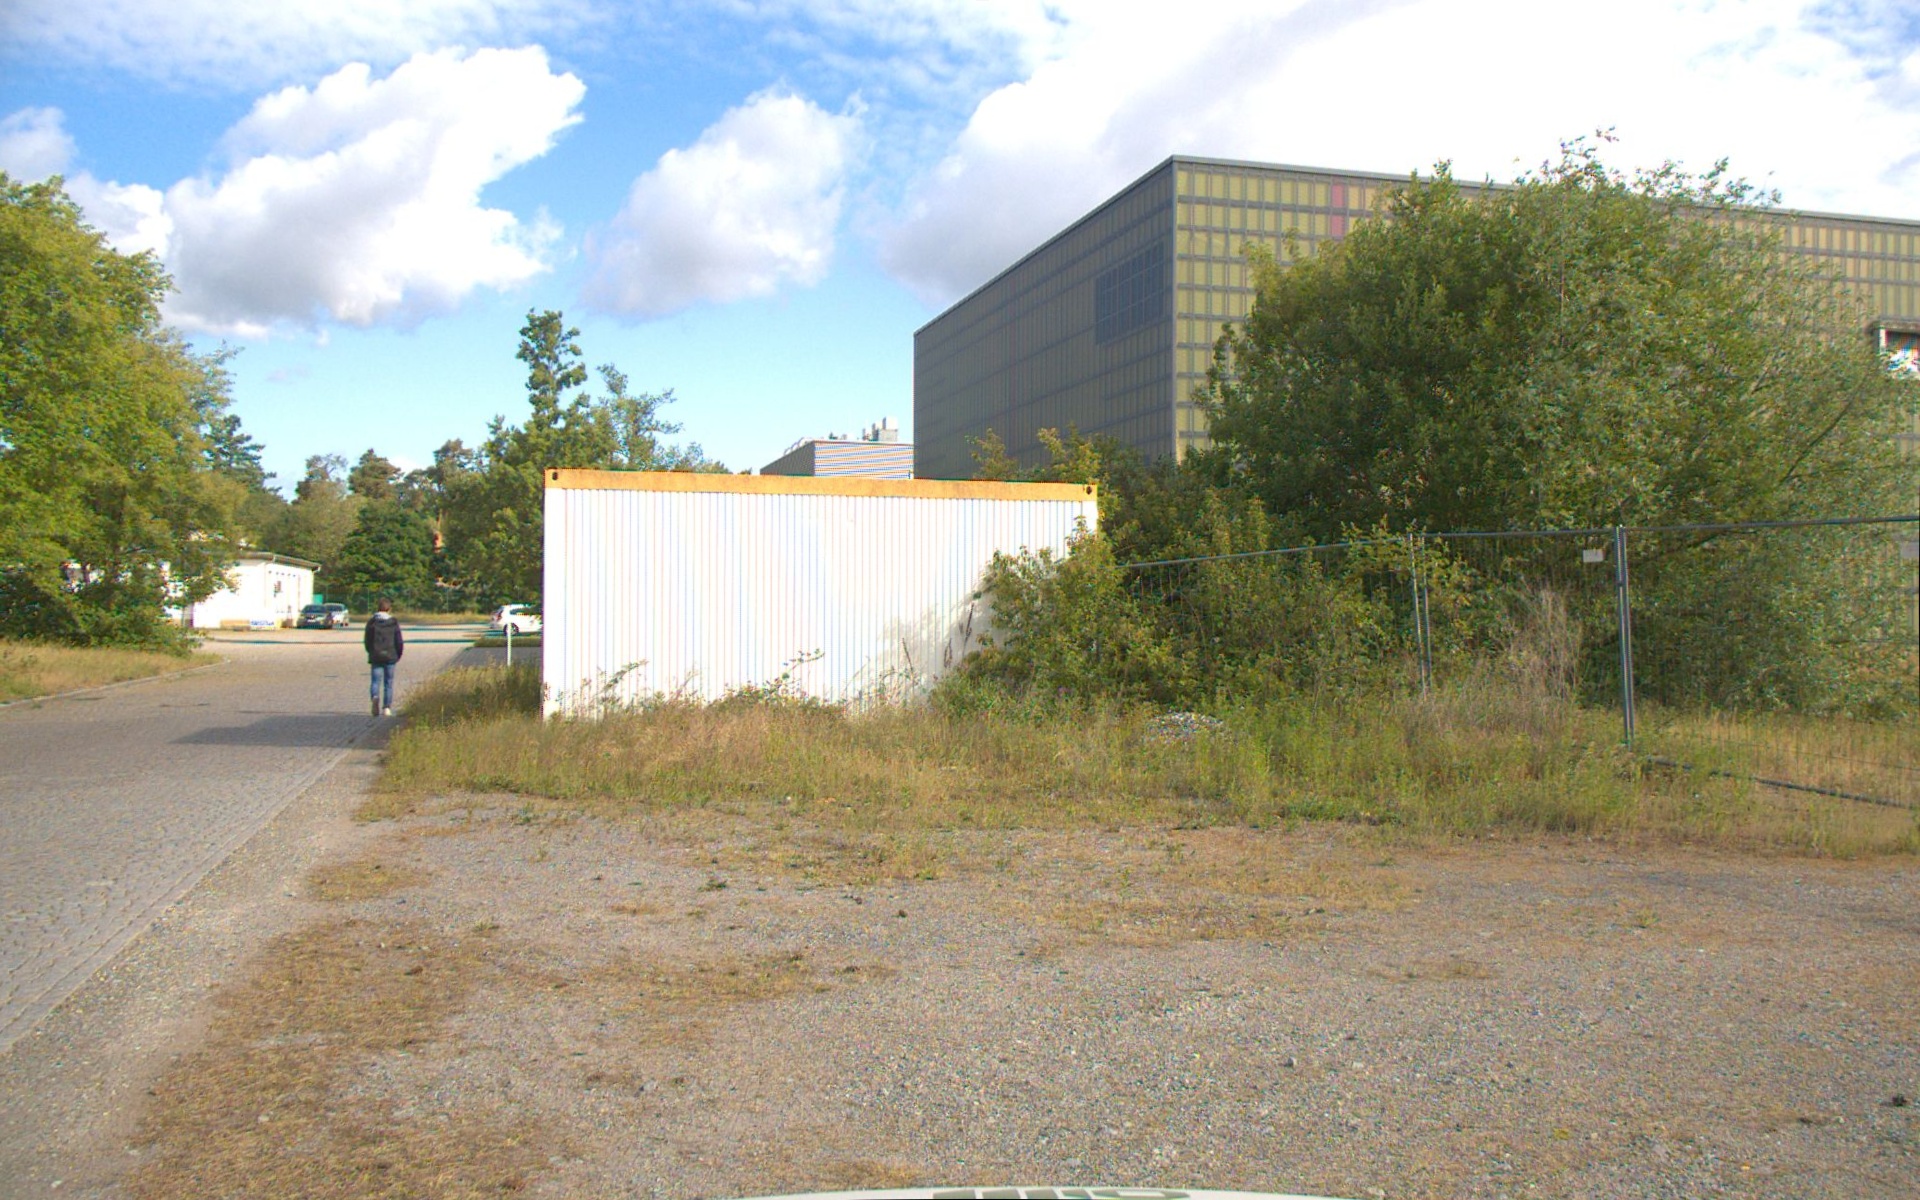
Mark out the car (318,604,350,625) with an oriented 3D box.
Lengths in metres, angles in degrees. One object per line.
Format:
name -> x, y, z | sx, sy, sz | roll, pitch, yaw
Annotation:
car -> -41.891, 0.960, 110.672 | 1.966, 1.400, 3.974 | 0, 0, -22

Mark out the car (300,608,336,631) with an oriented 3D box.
car -> -39.136, 1.177, 100.807 | 1.966, 1.395, 3.974 | 0, 0, -22

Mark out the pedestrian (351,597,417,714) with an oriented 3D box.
pedestrian -> -8.051, 0.760, 23.130 | 0.852, 1.586, 1.022 | 0, -1, -19

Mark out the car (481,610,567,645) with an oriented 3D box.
car -> -21.343, 1.337, 81.068 | 3.915, 1.671, 1.995 | 0, 0, -11
